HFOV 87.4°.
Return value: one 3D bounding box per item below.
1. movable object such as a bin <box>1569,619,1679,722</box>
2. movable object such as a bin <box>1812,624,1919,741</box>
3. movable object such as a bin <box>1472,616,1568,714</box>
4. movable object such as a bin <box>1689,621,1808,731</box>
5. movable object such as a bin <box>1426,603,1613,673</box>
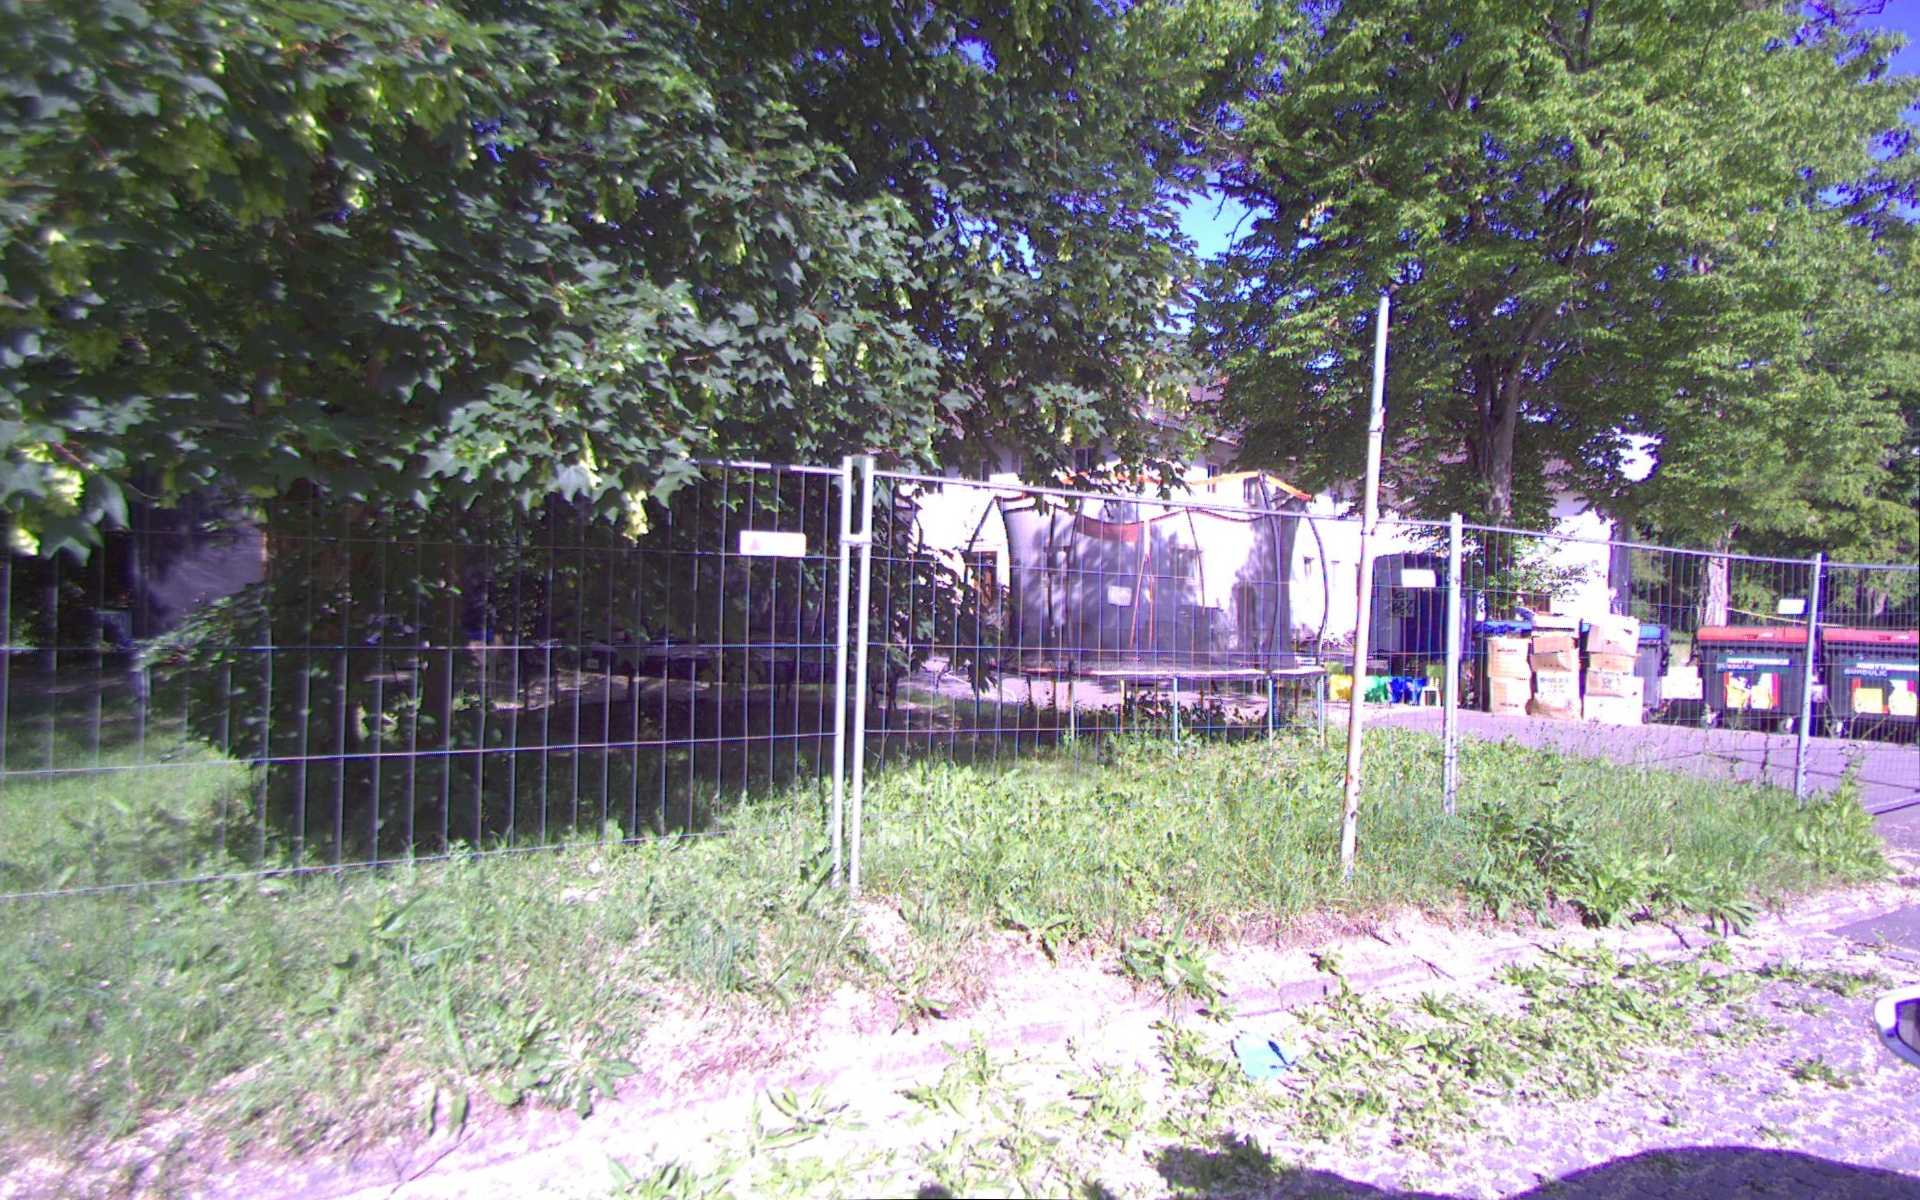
[{"bbox_3d":[9.989,1.020,15.110,1.272,1.445,1.027,0,-1,41],"label":"movable object such as a bin"},{"bbox_3d":[12.061,1.049,13.218,1.272,1.445,1.028,0,-1,40],"label":"movable object such as a bin"},{"bbox_3d":[8.821,0.993,15.826,1.049,1.457,1.073,1,-1,-45],"label":"movable object such as a bin"},{"bbox_3d":[11.054,1.027,14.088,1.272,1.445,1.027,0,-1,41],"label":"movable object such as a bin"},{"bbox_3d":[17.316,1.124,31.233,4.816,1.996,1.923,0,-1,41],"label":"movable object such as a bin"}]
